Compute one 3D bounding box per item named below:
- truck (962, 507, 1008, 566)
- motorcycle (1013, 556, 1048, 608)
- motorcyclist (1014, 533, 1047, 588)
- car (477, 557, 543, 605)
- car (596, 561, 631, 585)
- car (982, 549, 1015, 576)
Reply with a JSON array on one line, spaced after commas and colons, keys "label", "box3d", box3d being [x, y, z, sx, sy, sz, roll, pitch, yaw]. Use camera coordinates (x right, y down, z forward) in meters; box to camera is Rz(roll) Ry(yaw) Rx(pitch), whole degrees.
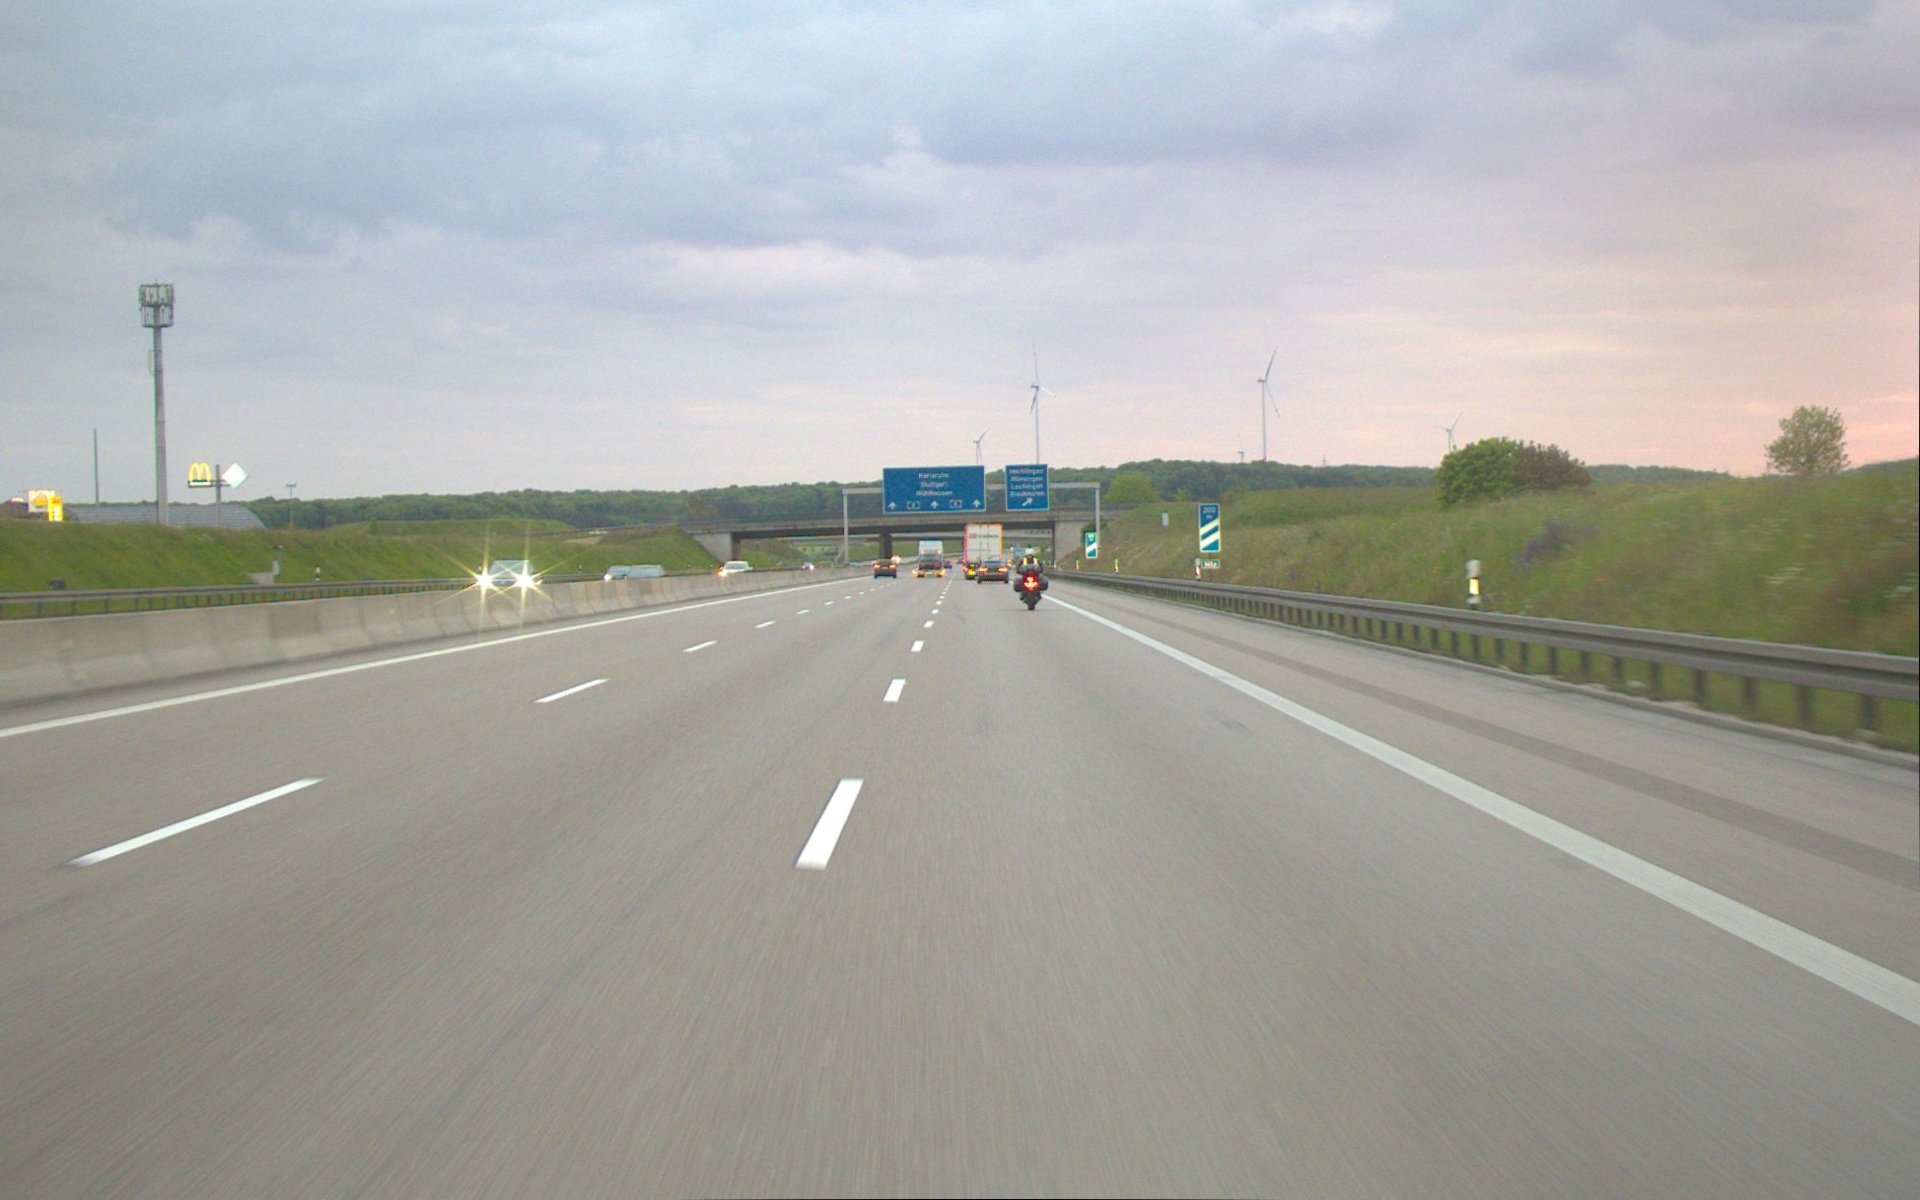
[{"label": "truck", "box3d": [1.823, -4.653, 251.557, 3.234, 4.213, 9.599, 1, 1, 0]}, {"label": "motorcycle", "box3d": [1.893, -0.504, 93.141, 0.902, 1.342, 2.349, -1, 2, 0]}, {"label": "motorcyclist", "box3d": [1.901, -1.070, 93.025, 0.866, 1.482, 1.168, 1, 1, 2]}, {"label": "car", "box3d": [-17.887, -0.781, 136.838, 2.099, 1.804, 5.022, -1, 1, -2]}, {"label": "car", "box3d": [-21.580, -1.683, 214.209, 1.738, 1.388, 4.343, -1, 1, -1]}, {"label": "car", "box3d": [2.326, -2.255, 208.088, 1.918, 1.574, 4.000, -1, 1, -1]}]
